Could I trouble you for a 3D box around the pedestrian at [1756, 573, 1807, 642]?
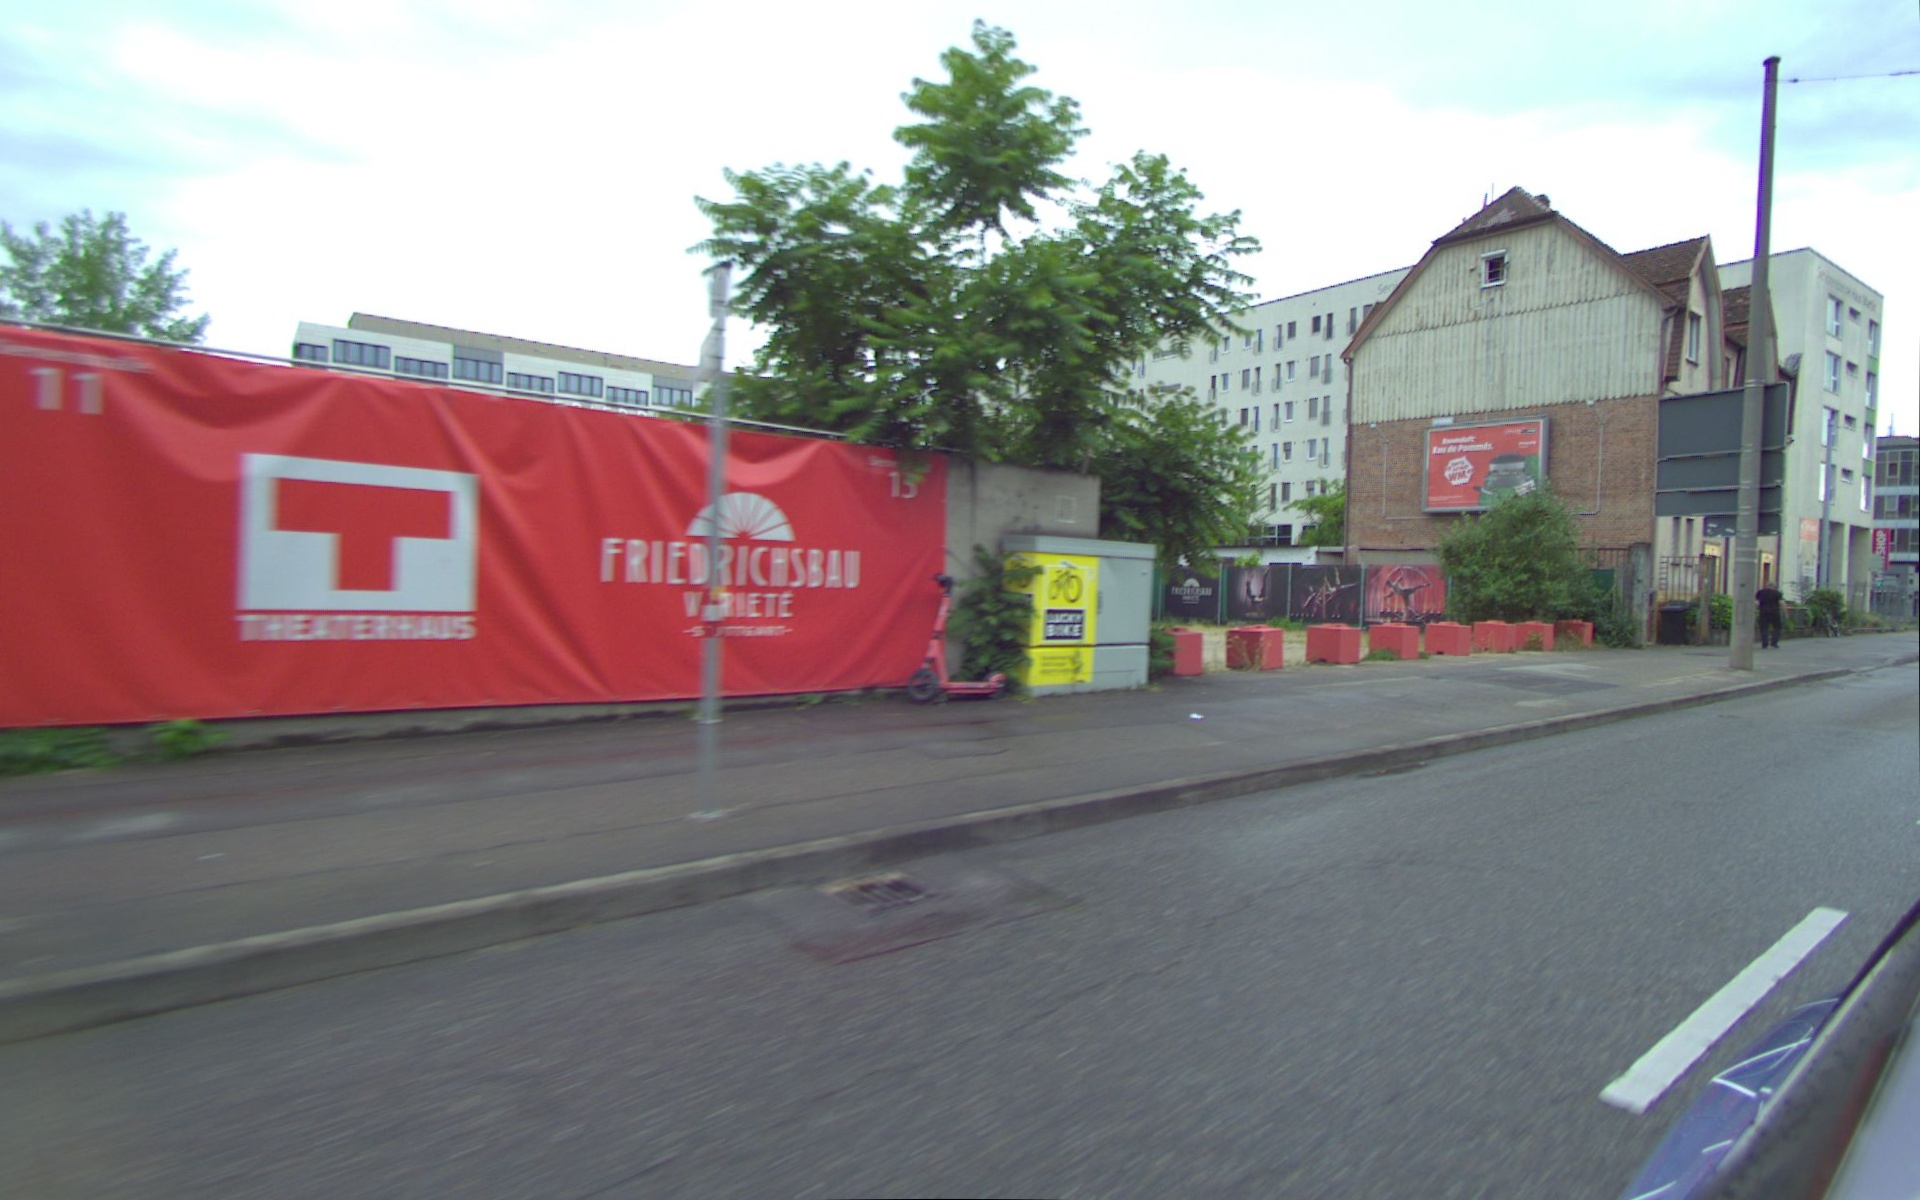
[{"bbox_3d":[21.582,0.187,26.606,0.906,1.786,0.759,-1,1,30],"label":"pedestrian"}]
